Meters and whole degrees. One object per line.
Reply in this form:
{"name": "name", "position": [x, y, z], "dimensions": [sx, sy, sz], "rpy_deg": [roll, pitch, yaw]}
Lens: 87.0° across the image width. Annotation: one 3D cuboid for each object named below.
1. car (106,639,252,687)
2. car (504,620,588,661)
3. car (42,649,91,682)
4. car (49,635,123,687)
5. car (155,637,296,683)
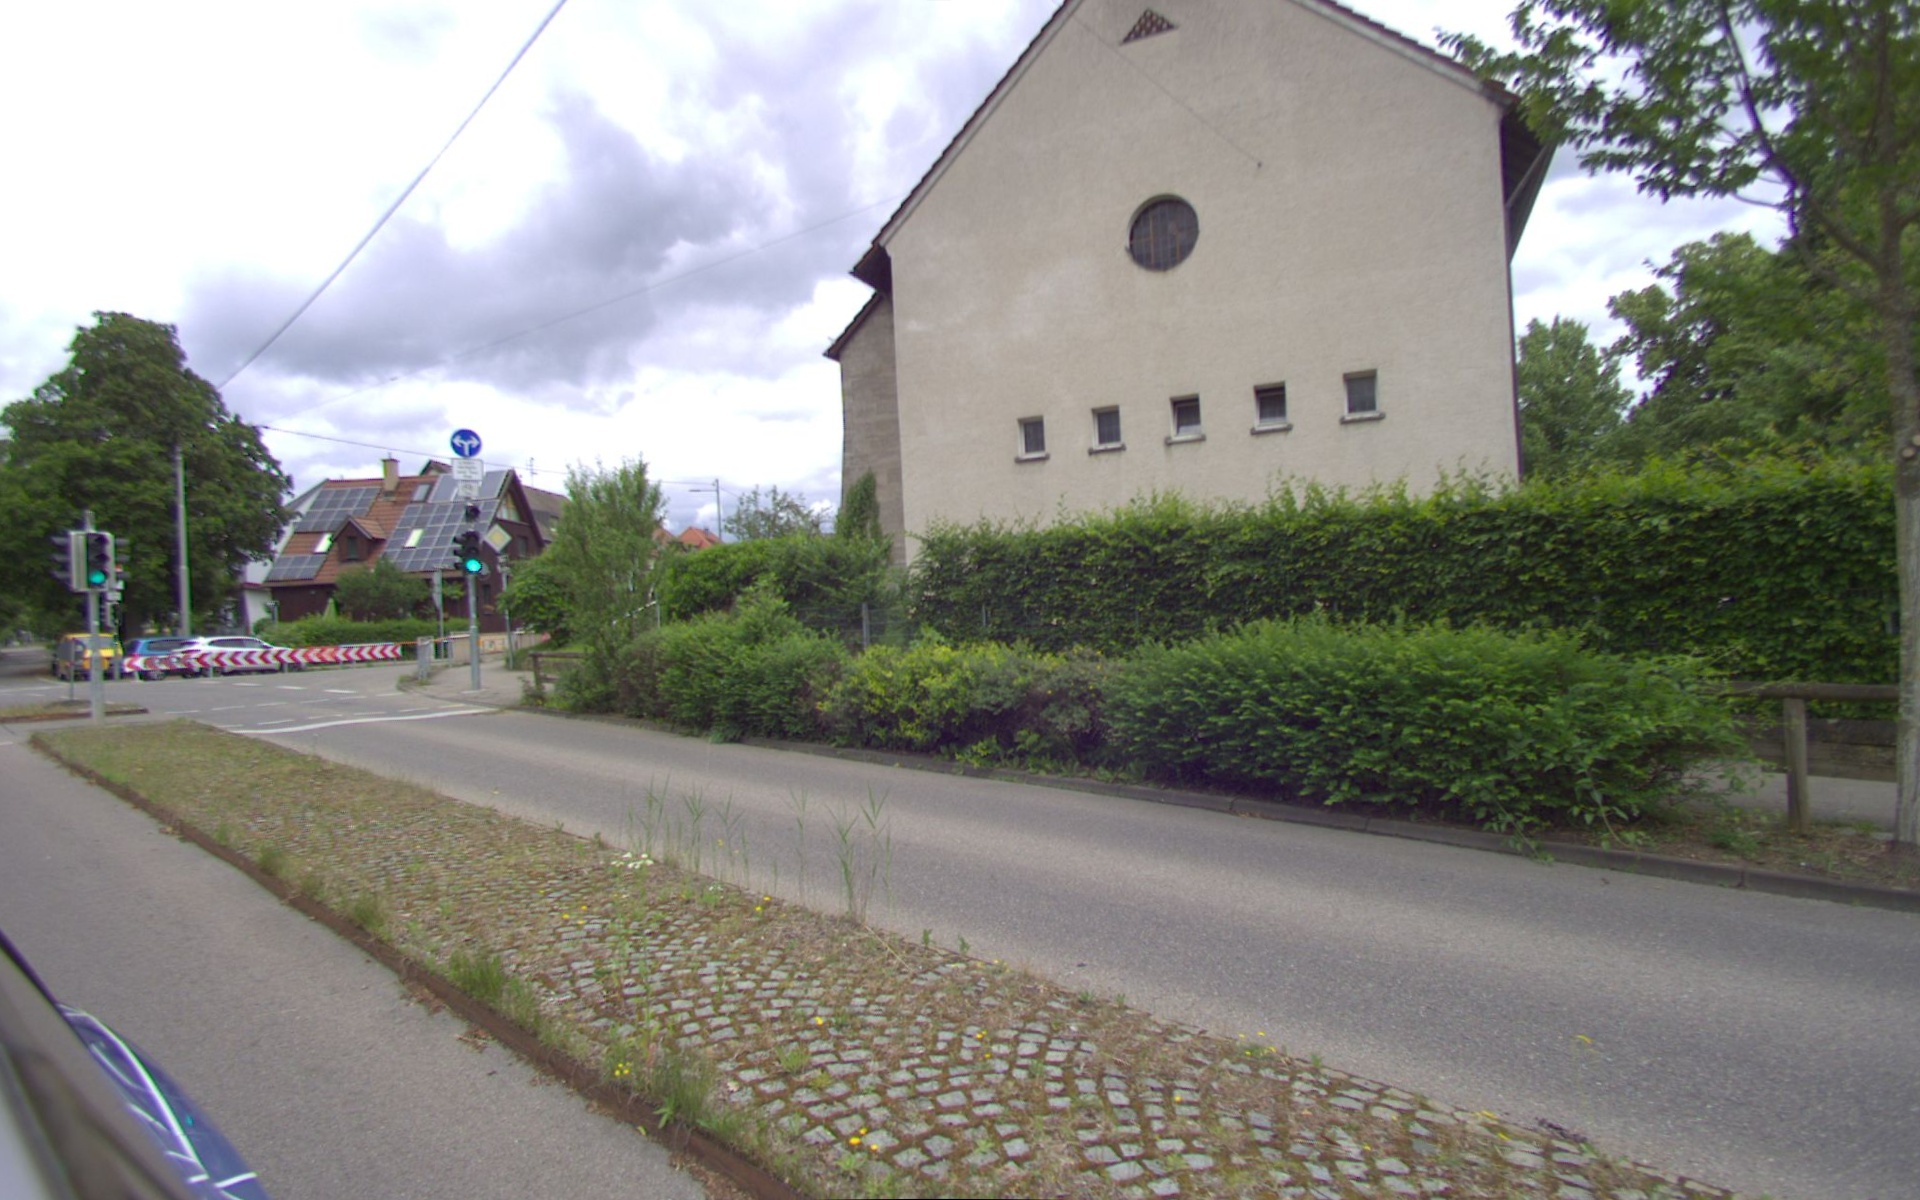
{"name": "car", "position": [-29.857, 2.387, 38.786], "dimensions": [1.843, 1.558, 4.125], "rpy_deg": [-4, -2, 38]}
{"name": "car", "position": [-16.750, 1.608, 41.098], "dimensions": [1.751, 1.501, 3.682], "rpy_deg": [-3, -2, 2]}
{"name": "car", "position": [-44.868, 3.274, 50.887], "dimensions": [1.723, 1.461, 4.600], "rpy_deg": [-1, -1, -40]}
{"name": "car", "position": [-37.039, 2.551, 42.836], "dimensions": [4.801, 2.004, 1.895], "rpy_deg": [-3, -2, 44]}
{"name": "car", "position": [-27.491, 2.223, 37.966], "dimensions": [1.839, 1.483, 3.864], "rpy_deg": [-4, -2, 31]}
